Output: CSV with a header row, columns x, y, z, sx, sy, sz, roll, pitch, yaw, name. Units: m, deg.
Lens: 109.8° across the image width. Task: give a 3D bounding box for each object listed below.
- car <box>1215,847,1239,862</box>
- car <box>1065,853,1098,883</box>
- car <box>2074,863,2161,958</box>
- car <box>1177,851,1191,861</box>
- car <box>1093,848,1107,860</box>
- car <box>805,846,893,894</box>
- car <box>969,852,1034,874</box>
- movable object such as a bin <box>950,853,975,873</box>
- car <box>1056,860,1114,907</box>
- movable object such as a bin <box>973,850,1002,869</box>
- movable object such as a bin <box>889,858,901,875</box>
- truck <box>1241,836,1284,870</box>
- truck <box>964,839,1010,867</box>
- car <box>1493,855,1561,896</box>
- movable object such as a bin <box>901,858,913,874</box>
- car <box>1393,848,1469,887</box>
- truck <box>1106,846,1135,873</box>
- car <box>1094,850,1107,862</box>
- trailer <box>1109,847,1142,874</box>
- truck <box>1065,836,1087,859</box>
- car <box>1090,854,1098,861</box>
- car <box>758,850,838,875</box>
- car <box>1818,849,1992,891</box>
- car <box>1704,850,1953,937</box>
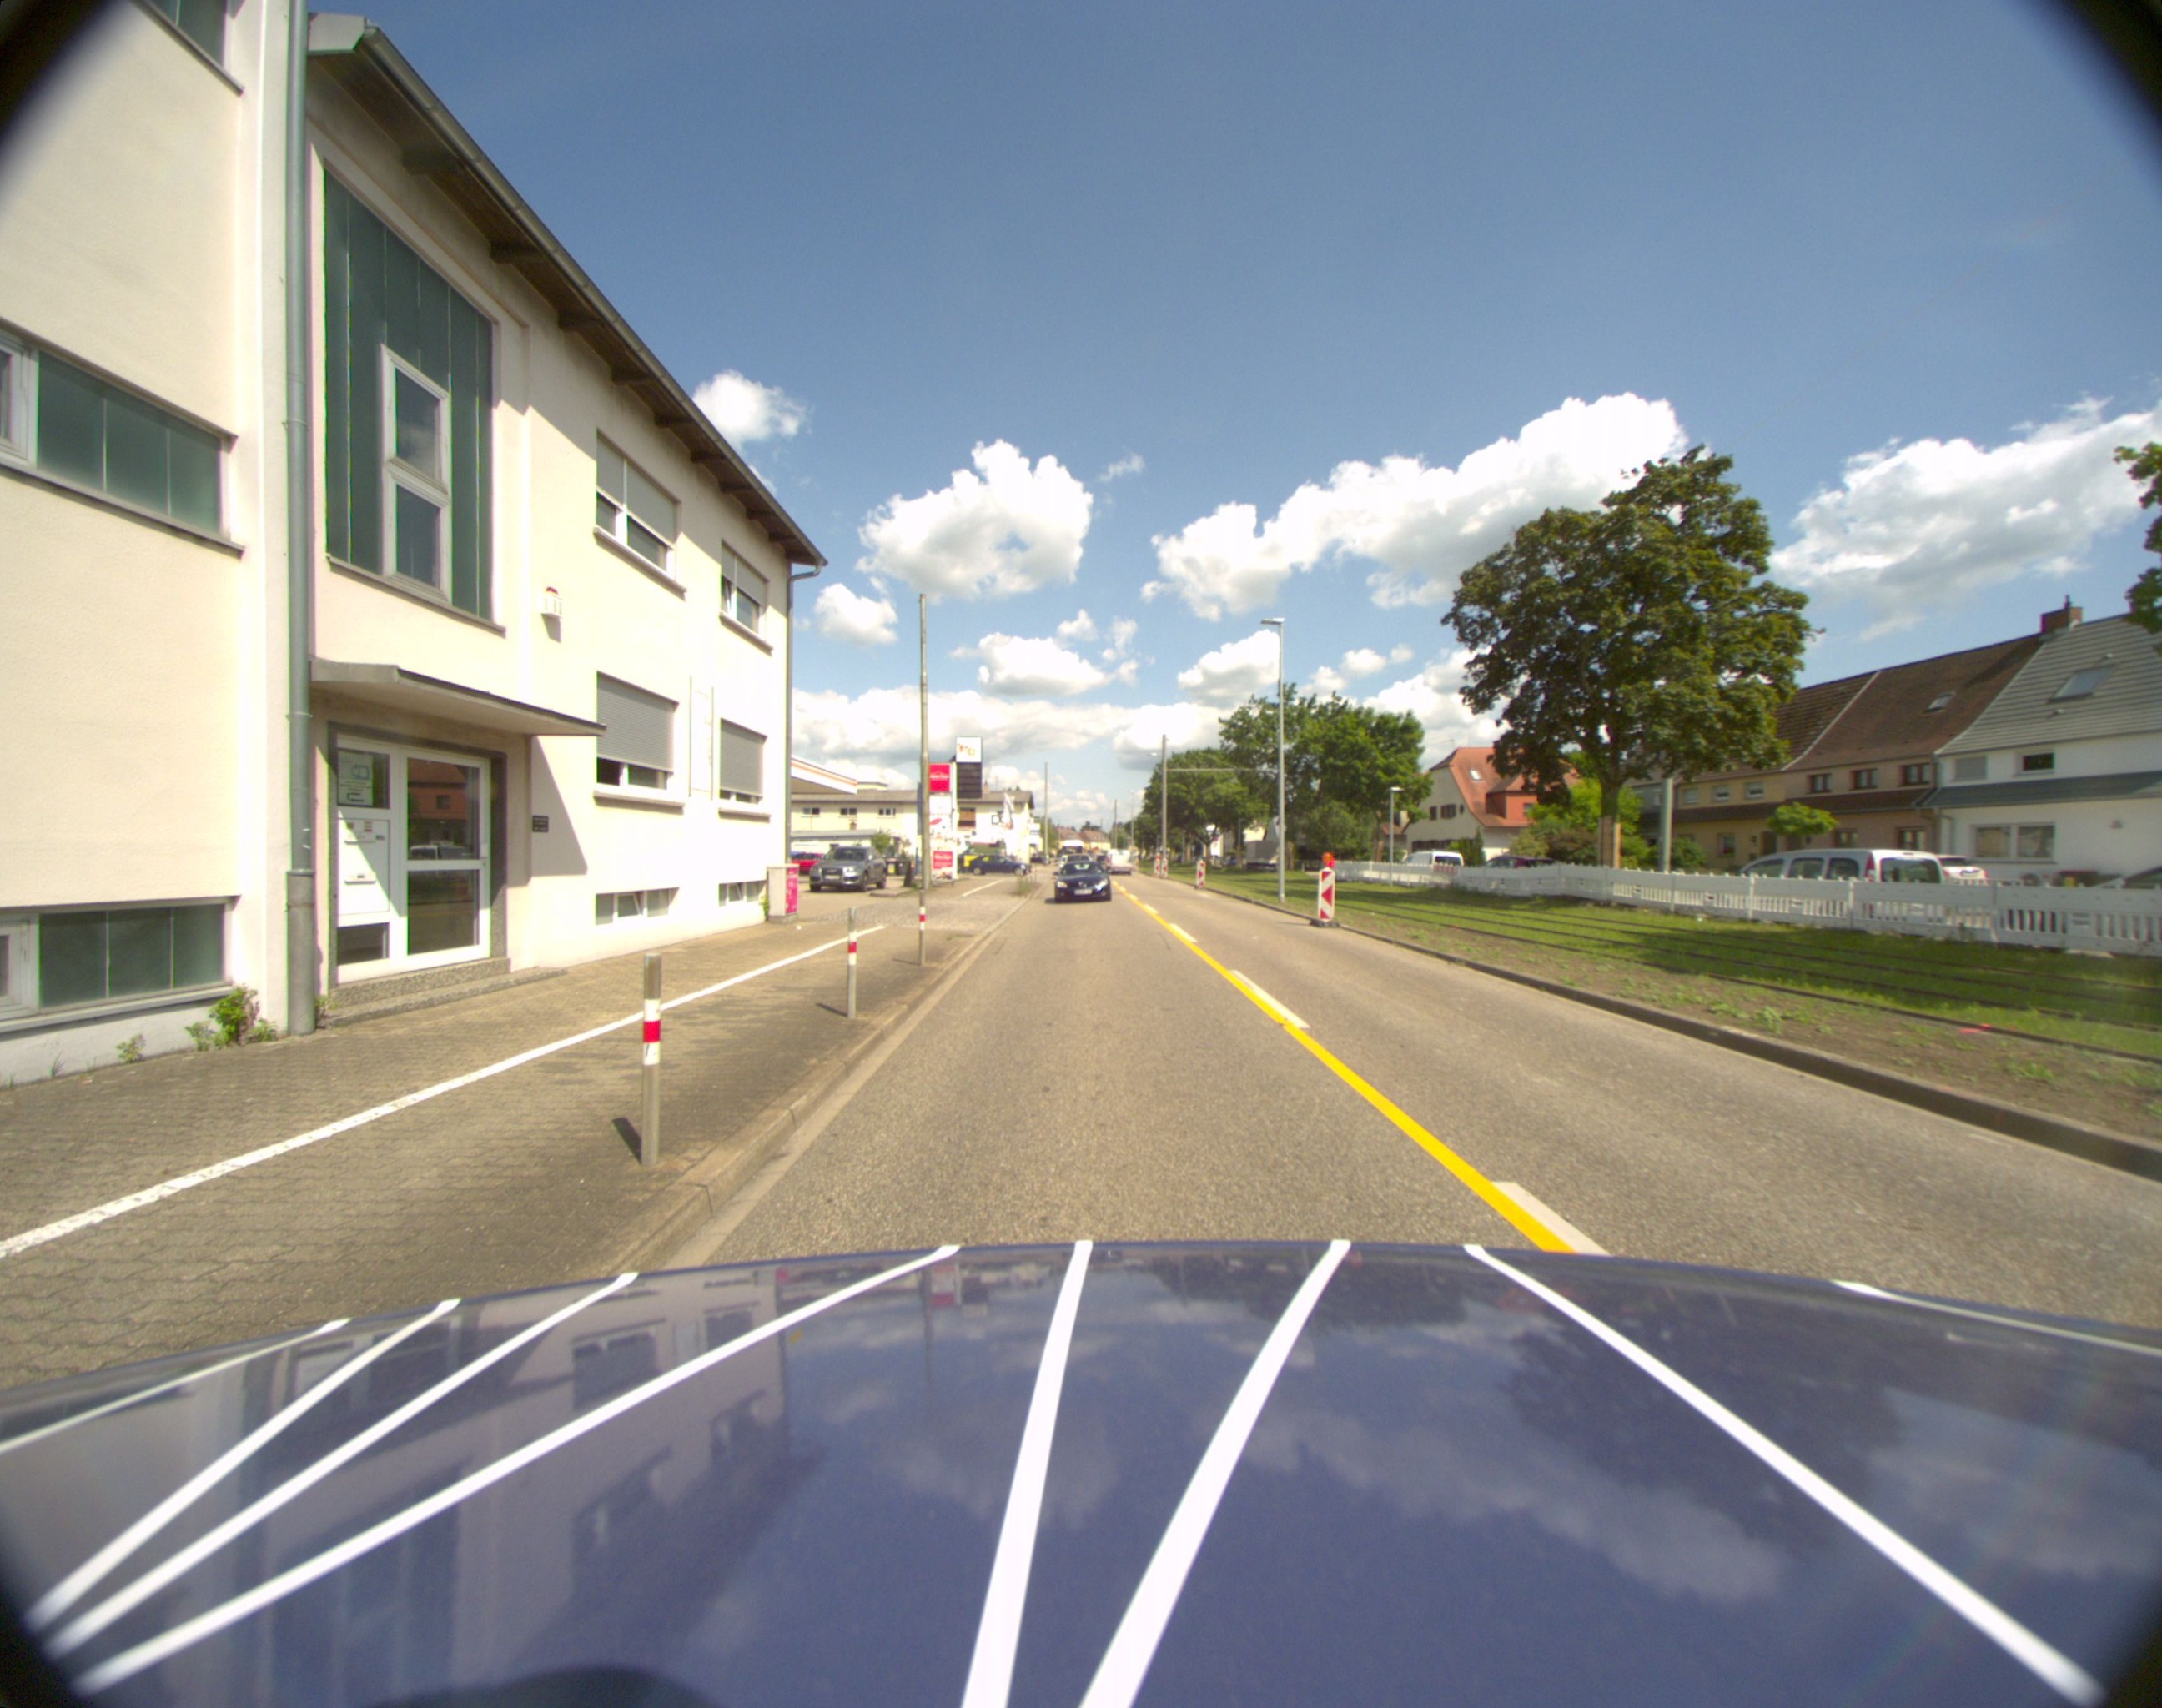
x,y,z,sx,sy,sz,roll,pitch,yaw,name
15.022,0.030,78.428,1.672,1.504,3.930,-2,1,0,car
0.028,0.687,40.515,1.594,1.418,3.706,-2,1,0,car
16.381,0.838,10.449,1.353,1.369,3.114,1,0,0,car
15.979,0.293,117.862,1.637,1.294,3.999,-2,1,0,car
2.531,-0.005,104.070,1.697,1.404,3.858,2,1,-1,car
-8.402,0.525,27.919,1.951,1.615,4.614,0,1,-2,car
-5.320,0.597,50.969,4.061,1.400,1.647,0,1,6,car
-8.921,0.645,57.292,1.536,1.402,1.765,-2,1,-1,movable object such as a bin
0.120,0.890,24.822,1.732,1.259,3.999,-2,1,0,car
-7.098,0.429,57.650,1.968,1.339,1.708,-2,1,-1,movable object such as a bin
-11.835,0.782,48.269,0.582,1.004,0.706,-2,1,-1,movable object such as a bin
16.129,-0.142,67.877,2.371,2.789,5.950,-2,1,0,truck
-9.165,-0.116,74.494,4.181,2.645,2.108,-2,1,1,truck
16.000,0.754,27.346,1.075,1.340,2.449,1,1,4,car
-11.076,0.762,48.303,0.582,1.004,0.706,-2,1,-1,movable object such as a bin
16.108,0.564,35.184,1.657,1.616,4.000,1,1,0,car
3.081,0.382,60.132,1.825,1.899,5.114,2,1,-1,truck
3.011,0.265,118.324,1.829,1.656,4.461,1,1,0,car
3.240,0.443,56.553,2.067,1.825,5.484,2,1,0,trailer
-0.586,-0.878,100.570,2.632,2.872,7.922,-2,1,1,truck
2.967,0.774,175.850,1.582,1.461,3.719,2,1,0,car
-17.172,0.492,46.225,4.145,1.416,1.771,1,1,1,car
28.484,0.498,26.488,1.538,1.268,4.119,1,1,0,car
16.324,0.763,16.913,1.627,1.642,3.898,1,1,0,car
